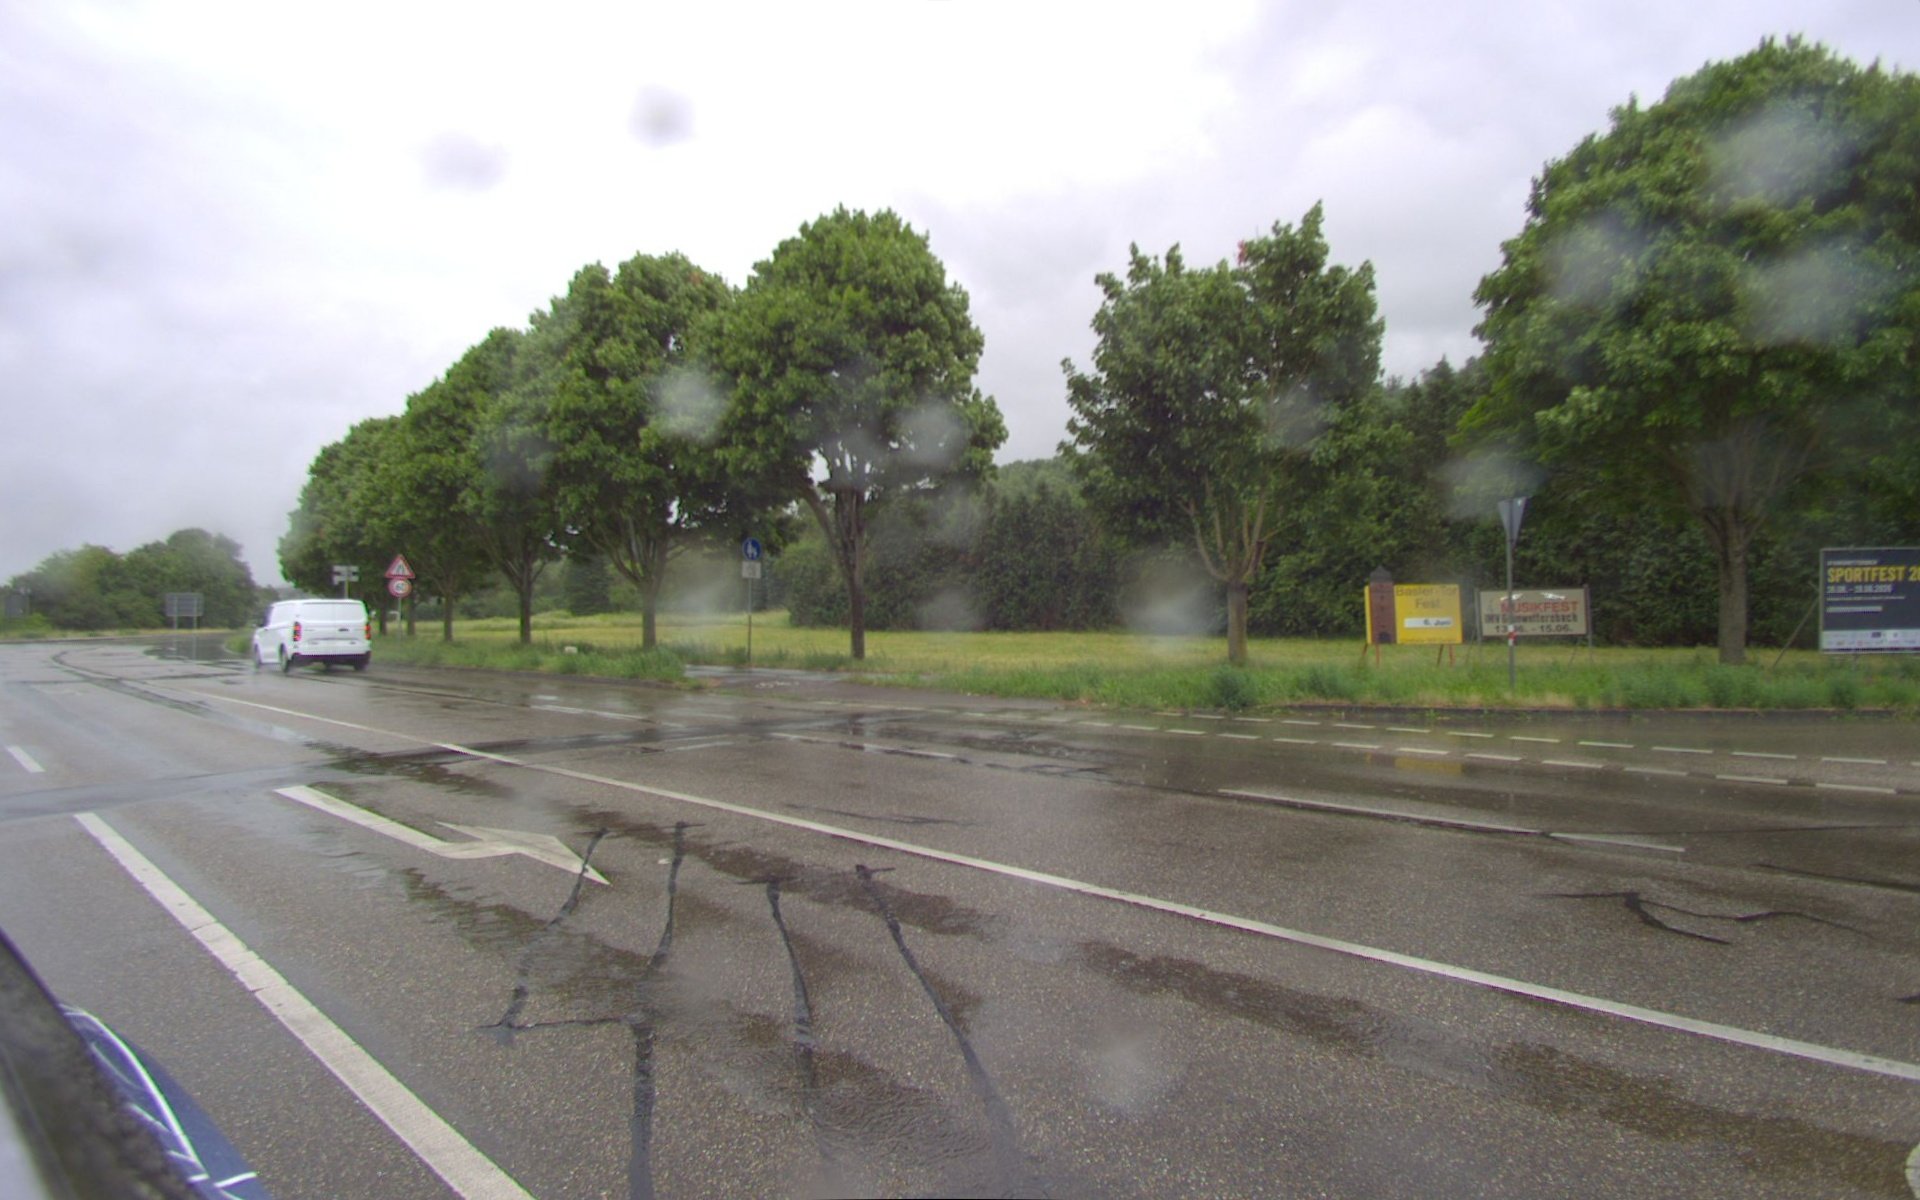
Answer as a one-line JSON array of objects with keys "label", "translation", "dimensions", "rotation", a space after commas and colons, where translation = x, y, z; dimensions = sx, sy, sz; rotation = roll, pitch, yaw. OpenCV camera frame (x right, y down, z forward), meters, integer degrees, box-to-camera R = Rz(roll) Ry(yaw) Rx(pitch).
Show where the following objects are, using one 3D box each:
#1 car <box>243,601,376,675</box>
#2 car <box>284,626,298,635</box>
[{"label": "car", "translation": [-18.357, 1.011, 28.459], "dimensions": [4.792, 1.907, 2.083], "rotation": [-1, -1, 44]}, {"label": "car", "translation": [-118.862, 5.384, 179.786], "dimensions": [1.885, 1.597, 4.116], "rotation": [0, -1, -29]}]
